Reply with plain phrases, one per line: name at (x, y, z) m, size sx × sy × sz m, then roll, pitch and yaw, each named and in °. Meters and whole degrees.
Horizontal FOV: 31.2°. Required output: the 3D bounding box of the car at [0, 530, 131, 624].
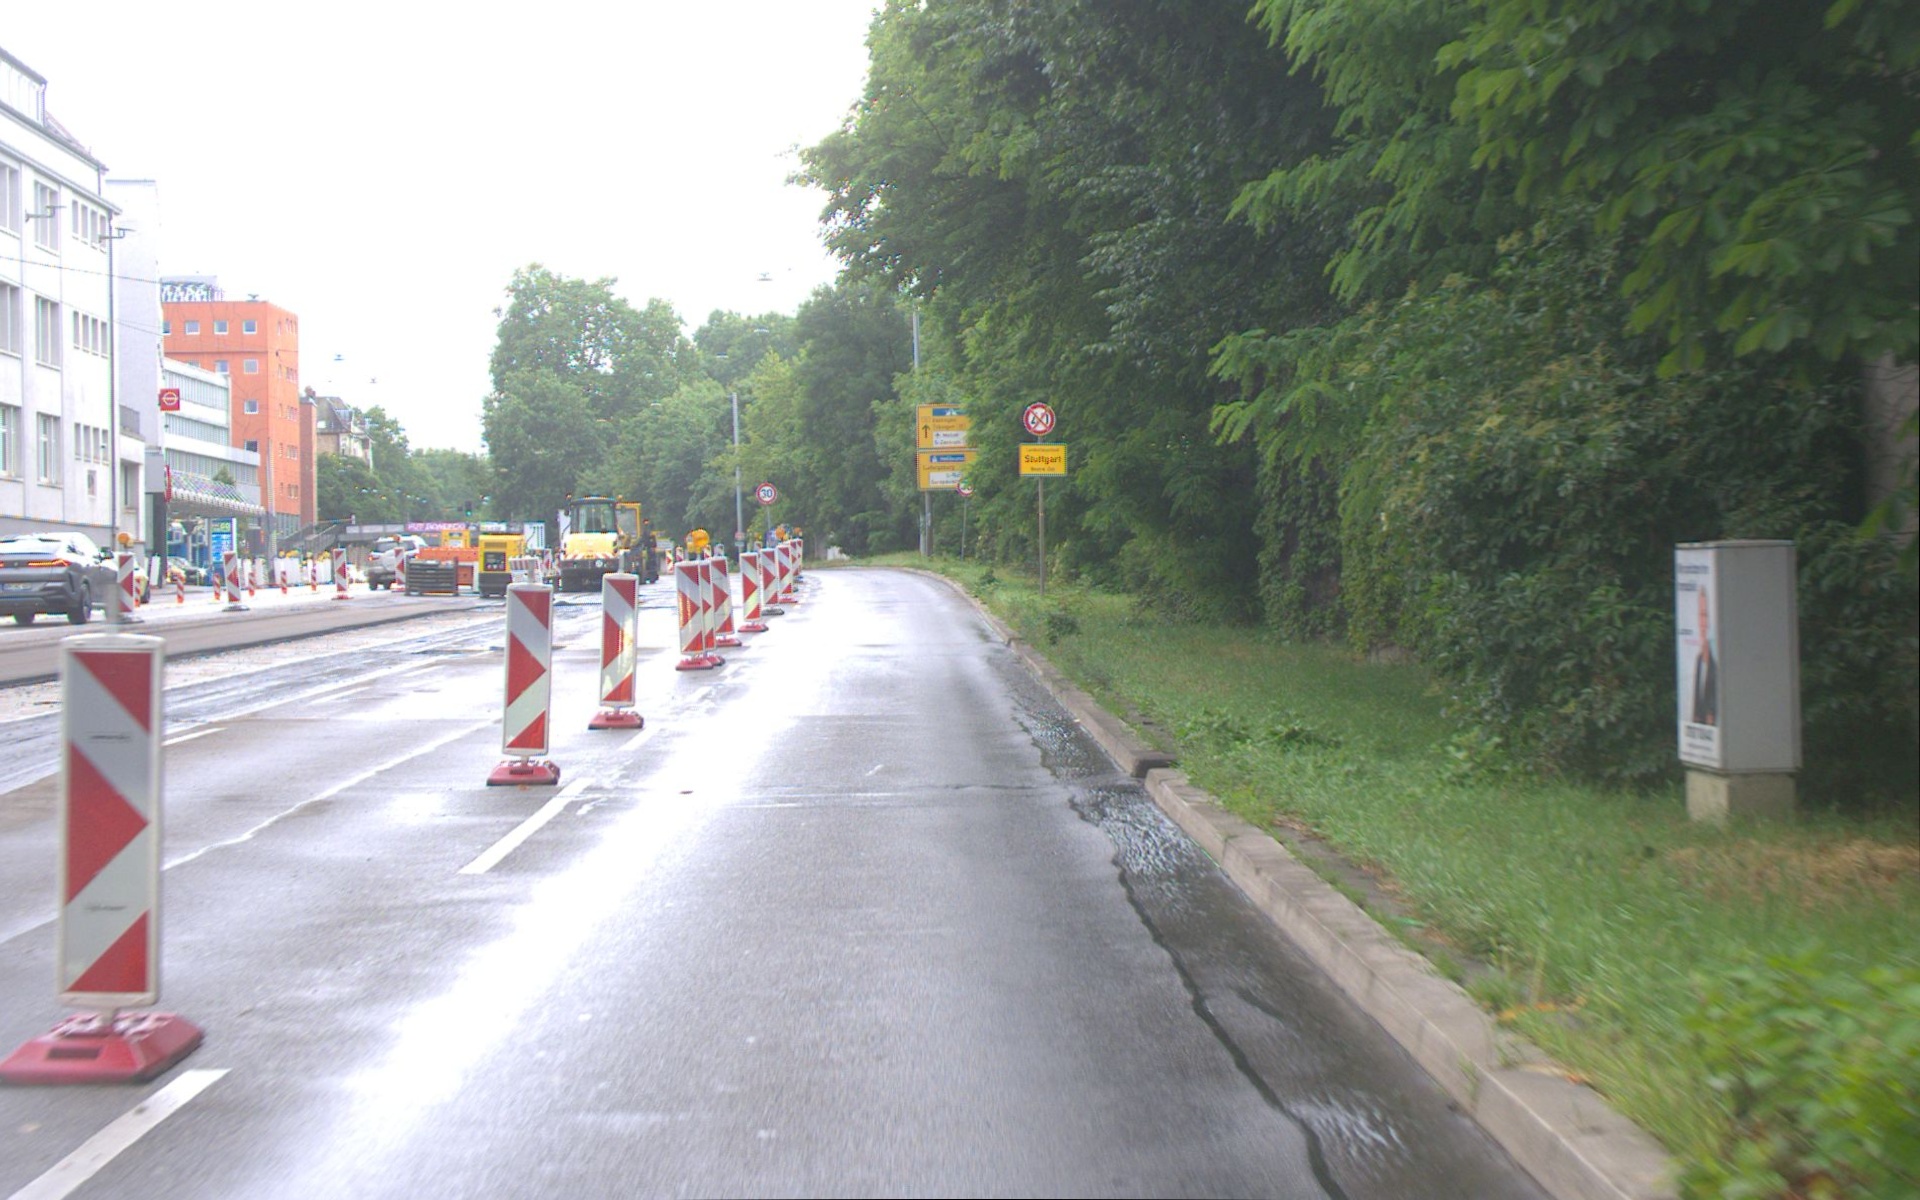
car at (-16.570, -0.434, 62.651) m, size 1.893 × 1.644 × 4.396 m, roll 0°, pitch 1°, yaw 0°

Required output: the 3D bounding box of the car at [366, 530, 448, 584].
car at (-17.291, -1.358, 107.657) m, size 1.893 × 1.644 × 4.396 m, roll 0°, pitch 1°, yaw 0°

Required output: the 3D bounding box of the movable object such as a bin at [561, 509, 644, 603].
movable object such as a bin at (-10.218, -1.290, 98.609) m, size 1.902 × 2.600 × 5.383 m, roll -1°, pitch 1°, yaw -1°

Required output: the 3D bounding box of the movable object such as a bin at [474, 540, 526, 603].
movable object such as a bin at (-12.048, -0.758, 90.101) m, size 1.083 × 1.639 × 2.439 m, roll -1°, pitch 1°, yaw -2°

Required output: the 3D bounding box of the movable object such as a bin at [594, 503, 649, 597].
movable object such as a bin at (-11.165, -1.667, 113.583) m, size 1.465 × 2.998 × 3.725 m, roll -3°, pitch 1°, yaw -3°
